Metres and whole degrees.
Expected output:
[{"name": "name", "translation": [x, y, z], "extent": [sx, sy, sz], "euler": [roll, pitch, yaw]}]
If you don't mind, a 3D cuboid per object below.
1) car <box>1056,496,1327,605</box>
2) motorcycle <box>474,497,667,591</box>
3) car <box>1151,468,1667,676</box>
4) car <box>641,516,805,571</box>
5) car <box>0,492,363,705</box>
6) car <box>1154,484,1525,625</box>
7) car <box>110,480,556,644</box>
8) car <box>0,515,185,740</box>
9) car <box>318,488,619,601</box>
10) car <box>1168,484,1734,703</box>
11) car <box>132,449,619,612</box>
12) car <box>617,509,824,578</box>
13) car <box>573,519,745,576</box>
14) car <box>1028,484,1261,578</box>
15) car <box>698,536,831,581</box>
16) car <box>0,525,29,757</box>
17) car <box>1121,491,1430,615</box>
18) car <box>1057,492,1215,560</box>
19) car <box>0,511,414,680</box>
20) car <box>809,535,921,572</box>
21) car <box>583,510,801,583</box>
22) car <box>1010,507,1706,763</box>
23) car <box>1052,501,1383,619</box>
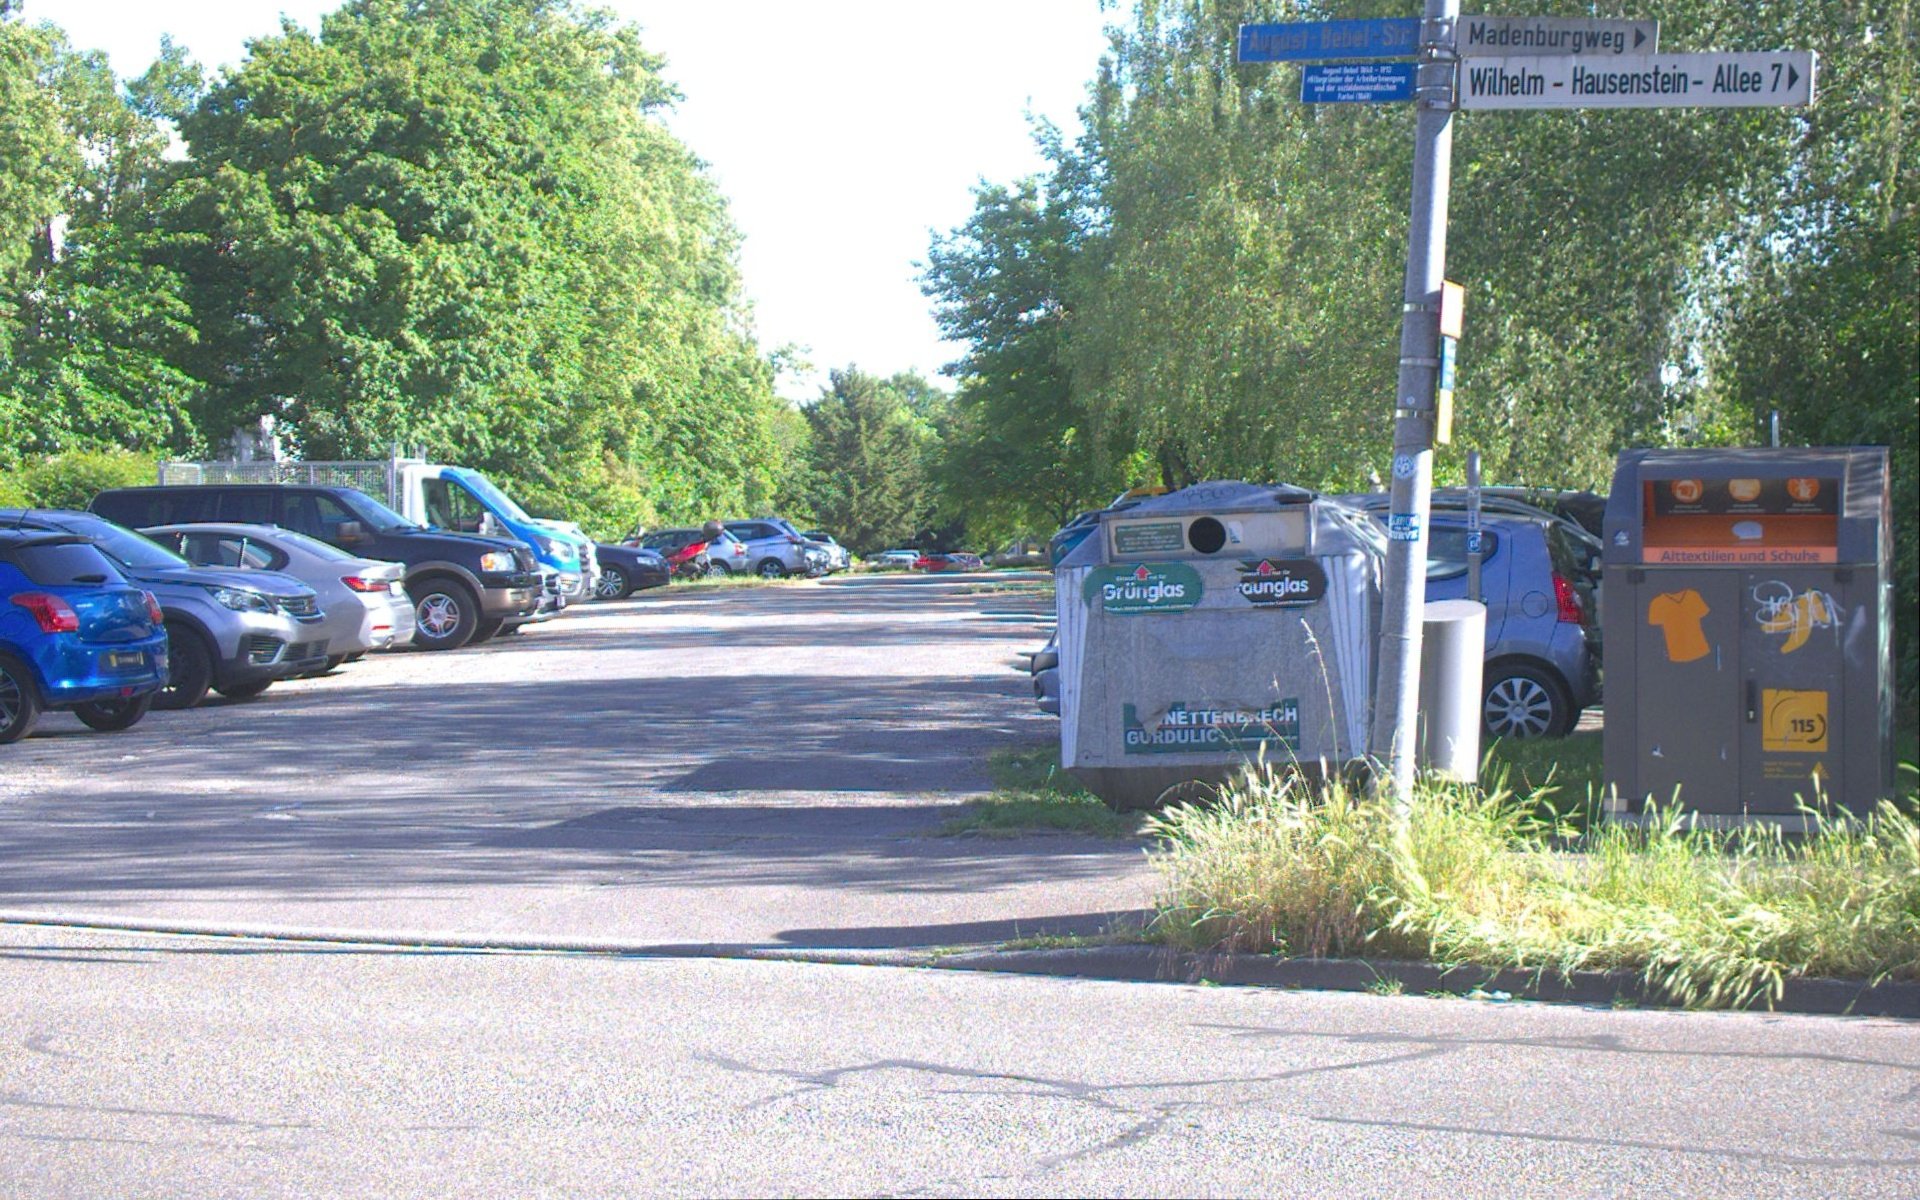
[{"name": "car", "translation": [3.492, -0.747, 51.633], "extent": [3.988, 1.580, 1.797], "euler": [1, 1, 5]}, {"name": "motorcycle", "translation": [-6.737, -0.969, 59.575], "extent": [3.191, 1.590, 0.923], "euler": [0, 1, 4]}, {"name": "car", "translation": [3.803, -0.264, 29.582], "extent": [4.103, 1.700, 1.791], "euler": [0, 3, -4]}, {"name": "car", "translation": [-5.903, -1.421, 85.953], "extent": [3.940, 1.329, 1.847], "euler": [0, 1, 2]}, {"name": "car", "translation": [-7.612, -0.012, 28.258], "extent": [4.993, 1.649, 1.784], "euler": [-1, 2, 8]}, {"name": "car", "translation": [4.234, -0.518, 38.307], "extent": [3.988, 1.498, 1.948], "euler": [1, 1, 8]}, {"name": "car", "translation": [-6.930, -0.428, 38.221], "extent": [4.523, 1.765, 1.847], "euler": [0, 1, 7]}, {"name": "car", "translation": [-7.560, 0.185, 24.293], "extent": [3.682, 1.491, 1.650], "euler": [-1, 2, 15]}, {"name": "car", "translation": [-7.896, -0.907, 55.440], "extent": [4.523, 1.765, 1.847], "euler": [0, 1, 3]}, {"name": "car", "translation": [3.739, -0.074, 26.660], "extent": [4.052, 1.597, 1.791], "euler": [0, 3, -3]}, {"name": "car", "translation": [-7.934, -0.957, 47.152], "extent": [6.256, 2.139, 2.411], "euler": [0, 1, 0]}, {"name": "car", "translation": [-4.735, -1.122, 68.356], "extent": [3.940, 1.329, 1.847], "euler": [0, 1, 2]}, {"name": "car", "translation": [-7.220, -1.265, 82.820], "extent": [3.940, 1.329, 1.847], "euler": [0, 1, 2]}, {"name": "car", "translation": [3.250, -1.203, 60.048], "extent": [3.988, 1.580, 1.797], "euler": [1, 1, 5]}, {"name": "car", "translation": [-6.009, -1.287, 105.818], "extent": [3.940, 1.329, 1.847], "euler": [0, 1, 2]}, {"name": "car", "translation": [-7.910, 0.265, 21.786], "extent": [3.525, 1.461, 1.702], "euler": [0, 2, 19]}, {"name": "car", "translation": [4.169, -0.624, 45.558], "extent": [3.988, 1.580, 1.797], "euler": [1, 1, 5]}, {"name": "car", "translation": [4.551, -1.901, 88.570], "extent": [3.988, 1.702, 1.797], "euler": [1, 1, 5]}, {"name": "car", "translation": [-7.329, -0.048, 32.208], "extent": [4.143, 1.450, 1.619], "euler": [-1, 1, 0]}, {"name": "car", "translation": [-3.172, -1.568, 114.991], "extent": [3.644, 1.208, 1.847], "euler": [0, 1, 2]}, {"name": "car", "translation": [-5.060, -1.021, 65.219], "extent": [3.940, 1.329, 1.847], "euler": [0, 1, 2]}, {"name": "car", "translation": [2.484, 0.174, 21.241], "extent": [4.055, 1.434, 1.634], "euler": [1, 1, 15]}, {"name": "car", "translation": [3.193, -0.503, 42.580], "extent": [3.988, 1.396, 1.797], "euler": [1, 1, 5]}]
